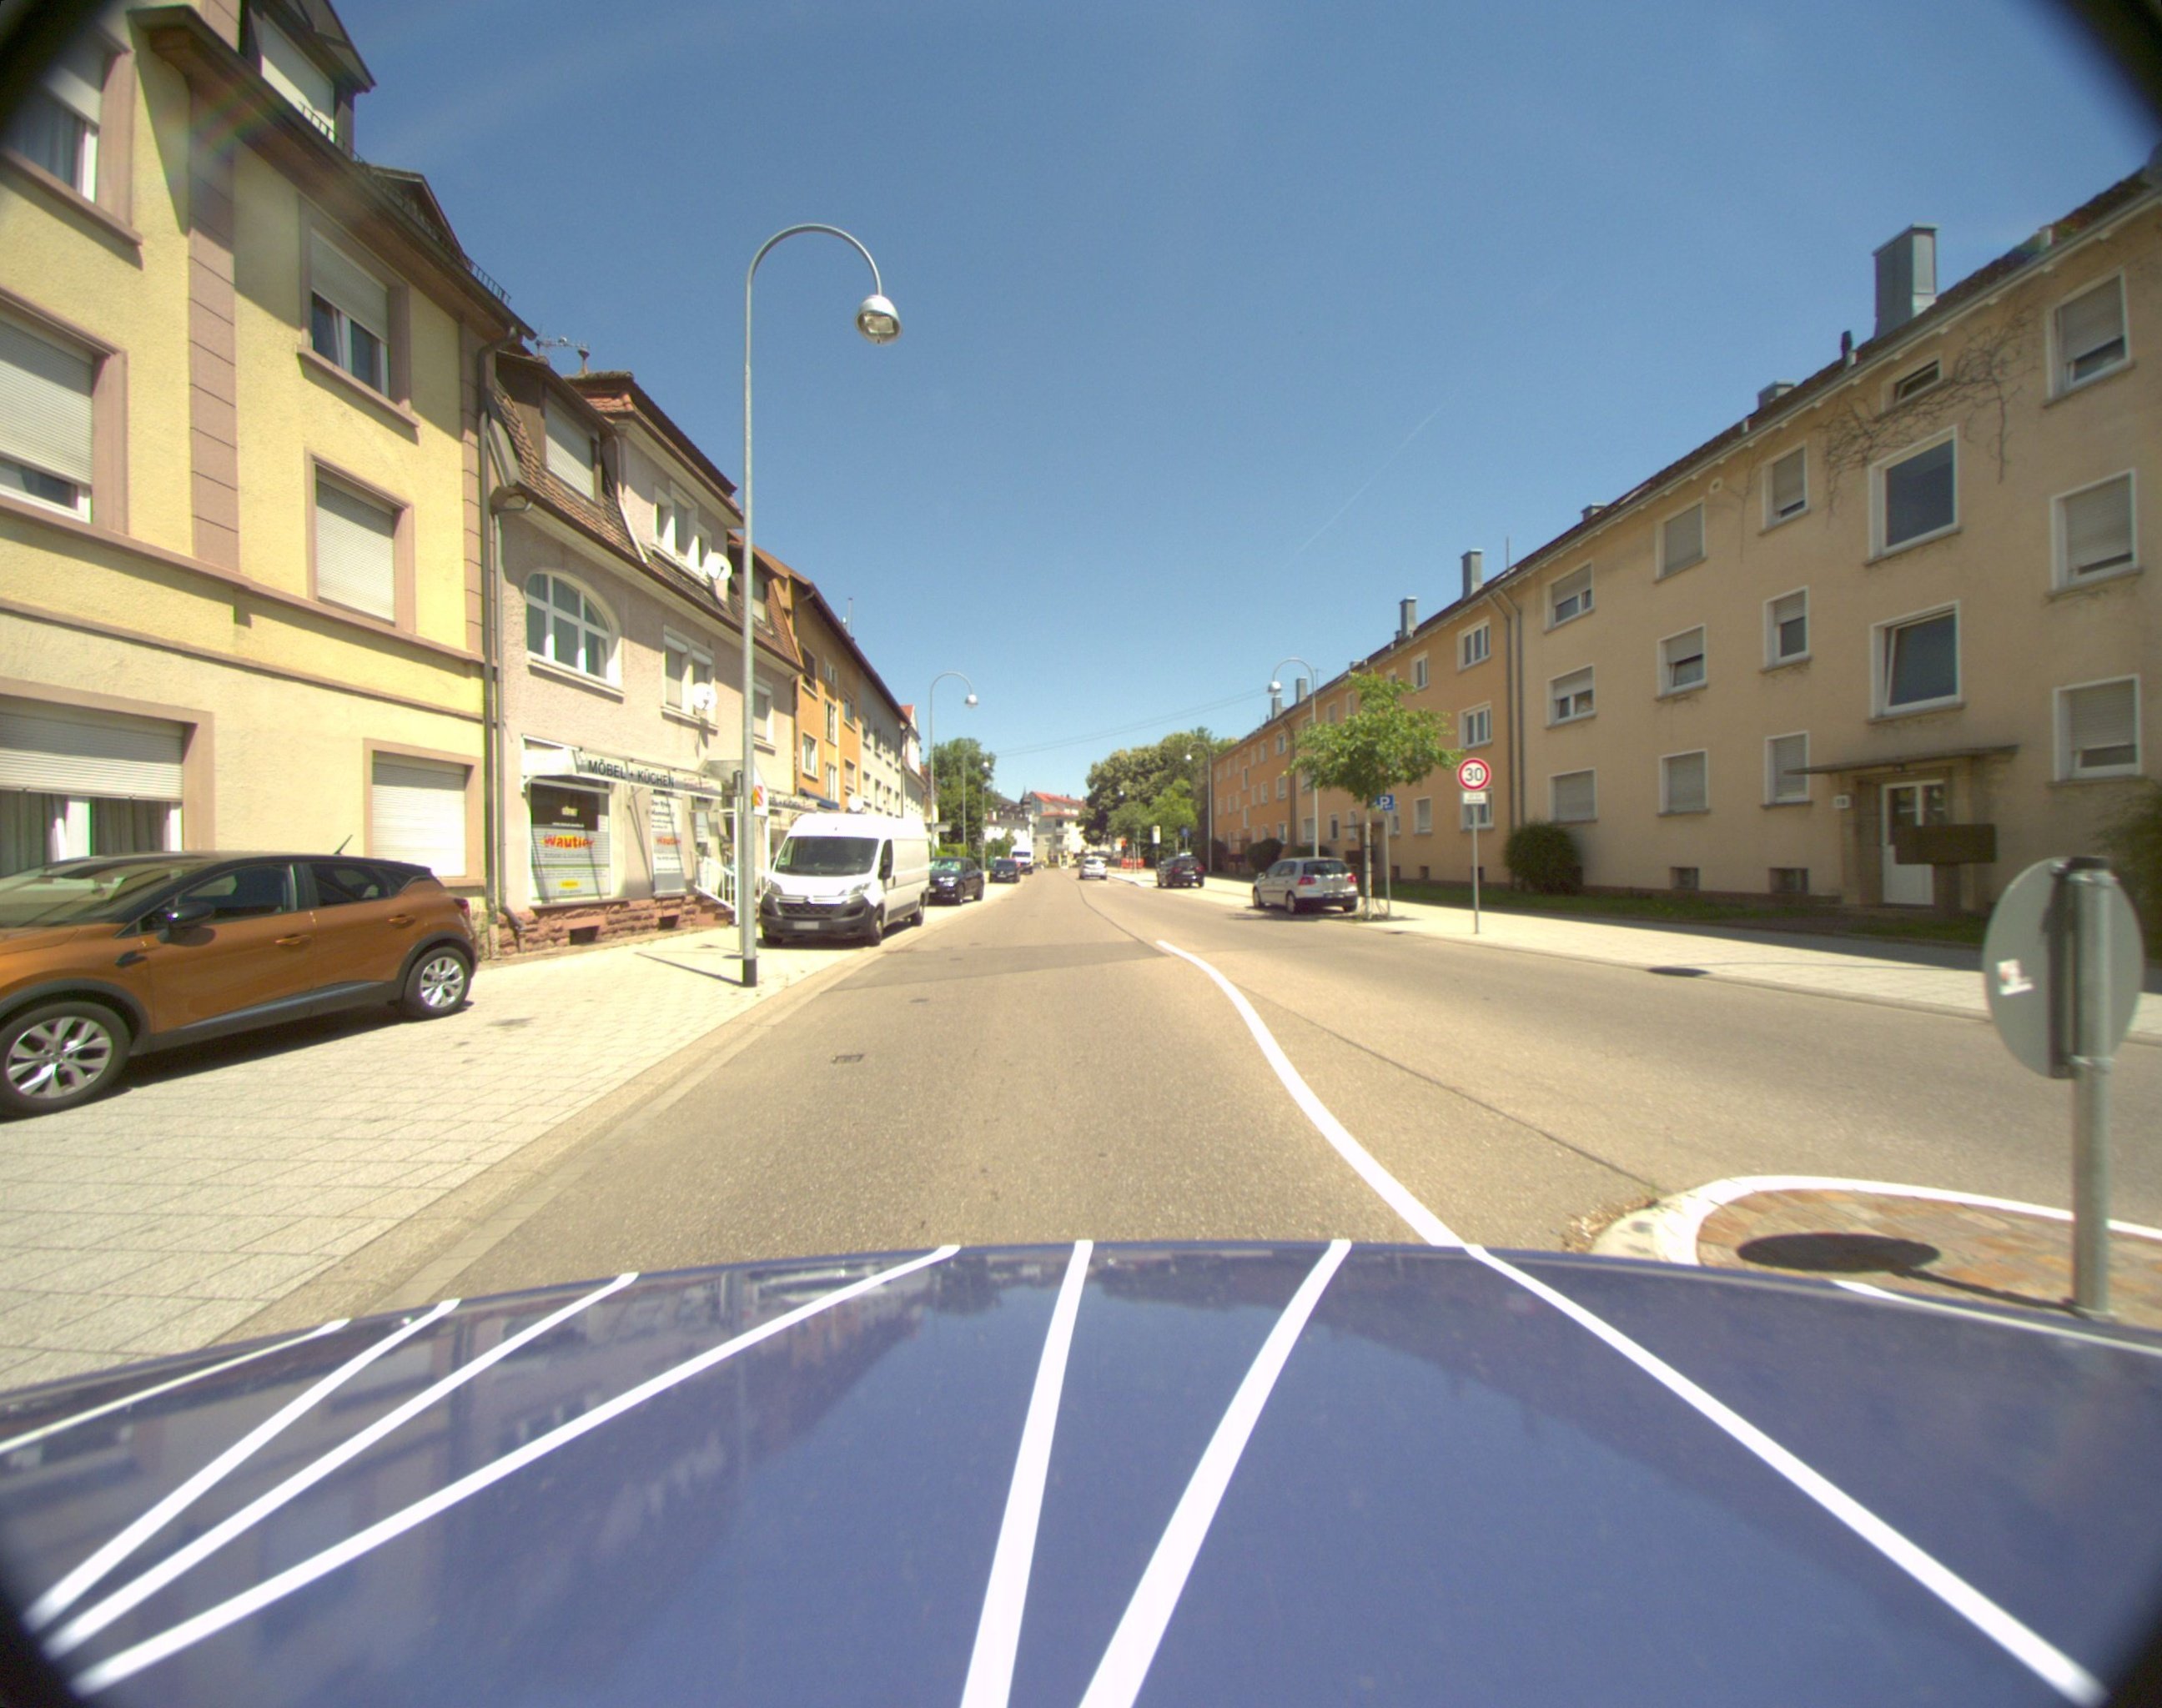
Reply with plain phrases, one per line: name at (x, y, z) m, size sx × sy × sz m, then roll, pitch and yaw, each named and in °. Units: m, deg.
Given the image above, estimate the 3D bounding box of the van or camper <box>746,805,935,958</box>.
van or camper at (-4.607, 0.469, 15.710) m, size 2.170 × 2.573 × 5.765 m, roll 0°, pitch 0°, yaw -1°

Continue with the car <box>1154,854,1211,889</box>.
car at (4.928, 0.832, 37.536) m, size 1.862 × 1.498 × 4.561 m, roll -3°, pitch 0°, yaw -4°

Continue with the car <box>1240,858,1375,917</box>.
car at (6.140, 0.856, 21.125) m, size 2.000 × 1.412 × 4.085 m, roll -2°, pitch 0°, yaw -9°

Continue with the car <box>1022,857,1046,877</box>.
car at (-3.742, 1.026, 60.569) m, size 1.808 × 1.521 × 4.149 m, roll -1°, pitch 0°, yaw -4°

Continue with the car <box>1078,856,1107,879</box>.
car at (0.754, 0.881, 52.071) m, size 1.664 × 1.488 × 3.758 m, roll -1°, pitch 0°, yaw -3°

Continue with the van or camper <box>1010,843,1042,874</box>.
van or camper at (-4.891, 0.332, 66.388) m, size 2.115 × 2.454 × 6.169 m, roll -2°, pitch 2°, yaw -10°

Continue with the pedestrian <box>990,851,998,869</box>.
pedestrian at (-8.453, 0.580, 73.574) m, size 0.522 × 1.696 × 0.802 m, roll 3°, pitch -1°, yaw -23°

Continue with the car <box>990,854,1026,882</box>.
car at (-4.483, 0.856, 47.036) m, size 1.732 × 1.623 × 4.000 m, roll 1°, pitch 0°, yaw 1°

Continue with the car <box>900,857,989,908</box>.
car at (-4.658, 0.915, 26.543) m, size 1.899 × 1.598 × 4.366 m, roll 1°, pitch 0°, yaw 6°

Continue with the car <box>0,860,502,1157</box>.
car at (-6.855, 0.875, 5.696) m, size 1.677 × 1.610 × 4.363 m, roll 1°, pitch 0°, yaw 0°

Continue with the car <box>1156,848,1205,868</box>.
car at (9.918, 0.404, 75.752) m, size 4.439 × 1.863 × 1.817 m, roll -2°, pitch 1°, yaw -13°
